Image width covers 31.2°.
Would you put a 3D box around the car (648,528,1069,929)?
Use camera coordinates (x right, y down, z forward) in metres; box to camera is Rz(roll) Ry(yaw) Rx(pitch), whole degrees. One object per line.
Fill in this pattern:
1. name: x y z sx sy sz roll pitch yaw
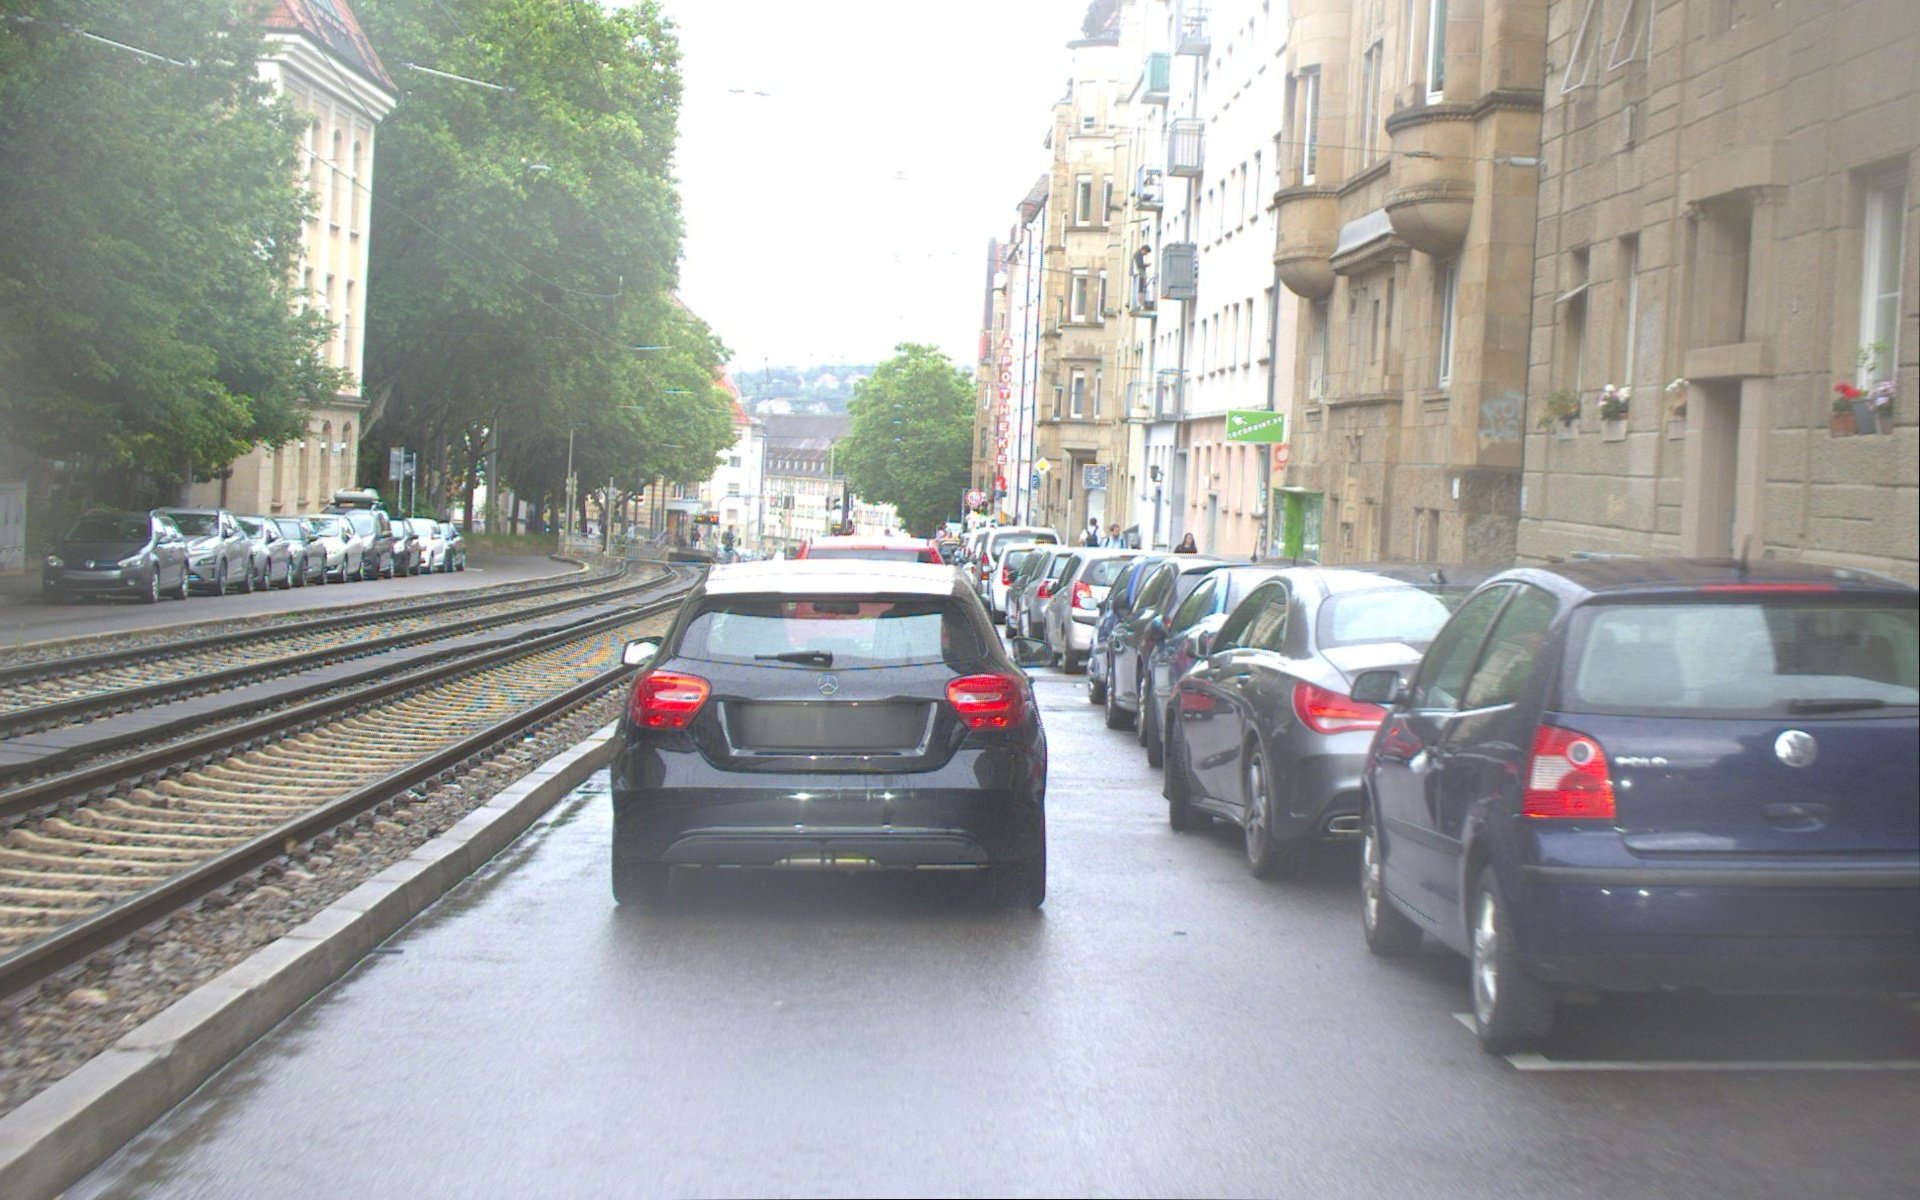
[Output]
1. car: -0.439 0.463 15.091 1.580 1.499 3.575 2 1 -2

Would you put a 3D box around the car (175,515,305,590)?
1. car: -13.883 -0.936 66.479 1.754 1.409 4.154 0 1 -2

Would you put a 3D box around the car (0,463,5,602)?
1. car: -13.530 -0.850 43.167 1.800 1.840 4.819 1 1 -1

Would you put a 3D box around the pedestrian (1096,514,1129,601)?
1. pedestrian: 3.072 -0.857 69.483 0.607 1.757 0.688 0 1 -2

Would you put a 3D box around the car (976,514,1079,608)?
1. car: 1.287 -0.797 67.543 1.790 1.759 4.212 1 1 -2

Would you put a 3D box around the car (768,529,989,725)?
1. car: -0.715 0.185 30.569 1.785 1.575 4.000 2 1 -1

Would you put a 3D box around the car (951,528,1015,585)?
1. car: 0.649 -1.246 97.952 1.693 1.524 4.000 2 1 -1

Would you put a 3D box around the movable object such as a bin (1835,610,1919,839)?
1. movable object such as a bin: 4.961 0.628 17.492 0.665 1.099 1.124 2 1 -1

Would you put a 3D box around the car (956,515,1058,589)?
1. car: 0.953 -1.052 73.058 1.871 1.450 4.903 2 1 -2

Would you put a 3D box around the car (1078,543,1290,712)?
1. car: 2.012 0.209 31.675 1.543 1.410 3.447 2 1 -2

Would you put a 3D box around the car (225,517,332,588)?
1. car: -14.043 -0.992 70.975 1.539 1.409 3.953 0 1 -2

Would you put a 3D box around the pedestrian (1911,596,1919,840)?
1. pedestrian: 4.987 0.420 16.541 0.561 1.530 0.710 2 1 -1

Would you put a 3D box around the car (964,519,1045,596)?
1. car: 1.067 -1.048 82.675 1.828 1.744 4.467 2 1 1

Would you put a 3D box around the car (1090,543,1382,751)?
1. car: 2.106 0.312 27.333 1.787 1.457 4.084 2 1 -2

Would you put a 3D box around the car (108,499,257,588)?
1. car: -13.799 -1.017 61.208 1.754 1.531 4.543 0 1 -2

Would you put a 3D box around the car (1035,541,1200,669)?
1. car: 1.854 0.023 41.405 1.590 1.429 3.685 1 1 -3

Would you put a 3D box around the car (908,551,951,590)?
1. car: -1.344 -1.276 148.630 1.827 1.612 3.864 1 2 -1

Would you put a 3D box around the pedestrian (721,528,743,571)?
1. pedestrian: -8.830 -1.956 133.185 0.806 1.628 0.892 1 1 0

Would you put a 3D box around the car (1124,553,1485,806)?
1. car: 2.103 0.437 22.035 1.706 1.393 4.019 2 1 -2

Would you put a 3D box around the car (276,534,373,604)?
1. car: -14.116 -0.713 76.524 1.539 1.500 4.155 0 1 -2

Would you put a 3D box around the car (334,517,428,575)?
1. car: -14.543 -1.367 86.477 1.675 1.409 4.010 0 1 0

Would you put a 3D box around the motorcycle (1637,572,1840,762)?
1. motorcycle: 5.393 0.428 23.997 0.705 1.194 2.746 2 1 -1

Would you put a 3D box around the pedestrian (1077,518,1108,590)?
1. pedestrian: 3.411 -1.194 88.534 0.746 1.827 1.039 0 1 0

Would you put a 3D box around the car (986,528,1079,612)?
1. car: 1.311 -0.575 63.263 1.570 1.457 3.600 1 1 -1

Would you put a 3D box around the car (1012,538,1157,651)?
1. car: 1.655 -0.112 46.840 1.667 1.429 3.957 1 1 -2

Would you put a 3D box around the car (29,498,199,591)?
1. car: -13.712 -0.916 55.968 1.849 1.459 4.551 0 1 -3

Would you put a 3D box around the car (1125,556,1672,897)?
1. car: 1.955 0.505 16.693 1.754 1.382 4.486 0 1 -4

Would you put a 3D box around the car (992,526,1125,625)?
1. car: 1.466 -0.402 52.474 1.669 1.405 4.312 1 1 -3

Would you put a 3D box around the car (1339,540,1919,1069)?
1. car: 2.328 0.536 11.405 1.671 1.439 3.790 0 1 -1

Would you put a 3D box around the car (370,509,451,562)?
1. car: -14.571 -1.721 91.289 1.500 1.386 3.987 0 1 0
